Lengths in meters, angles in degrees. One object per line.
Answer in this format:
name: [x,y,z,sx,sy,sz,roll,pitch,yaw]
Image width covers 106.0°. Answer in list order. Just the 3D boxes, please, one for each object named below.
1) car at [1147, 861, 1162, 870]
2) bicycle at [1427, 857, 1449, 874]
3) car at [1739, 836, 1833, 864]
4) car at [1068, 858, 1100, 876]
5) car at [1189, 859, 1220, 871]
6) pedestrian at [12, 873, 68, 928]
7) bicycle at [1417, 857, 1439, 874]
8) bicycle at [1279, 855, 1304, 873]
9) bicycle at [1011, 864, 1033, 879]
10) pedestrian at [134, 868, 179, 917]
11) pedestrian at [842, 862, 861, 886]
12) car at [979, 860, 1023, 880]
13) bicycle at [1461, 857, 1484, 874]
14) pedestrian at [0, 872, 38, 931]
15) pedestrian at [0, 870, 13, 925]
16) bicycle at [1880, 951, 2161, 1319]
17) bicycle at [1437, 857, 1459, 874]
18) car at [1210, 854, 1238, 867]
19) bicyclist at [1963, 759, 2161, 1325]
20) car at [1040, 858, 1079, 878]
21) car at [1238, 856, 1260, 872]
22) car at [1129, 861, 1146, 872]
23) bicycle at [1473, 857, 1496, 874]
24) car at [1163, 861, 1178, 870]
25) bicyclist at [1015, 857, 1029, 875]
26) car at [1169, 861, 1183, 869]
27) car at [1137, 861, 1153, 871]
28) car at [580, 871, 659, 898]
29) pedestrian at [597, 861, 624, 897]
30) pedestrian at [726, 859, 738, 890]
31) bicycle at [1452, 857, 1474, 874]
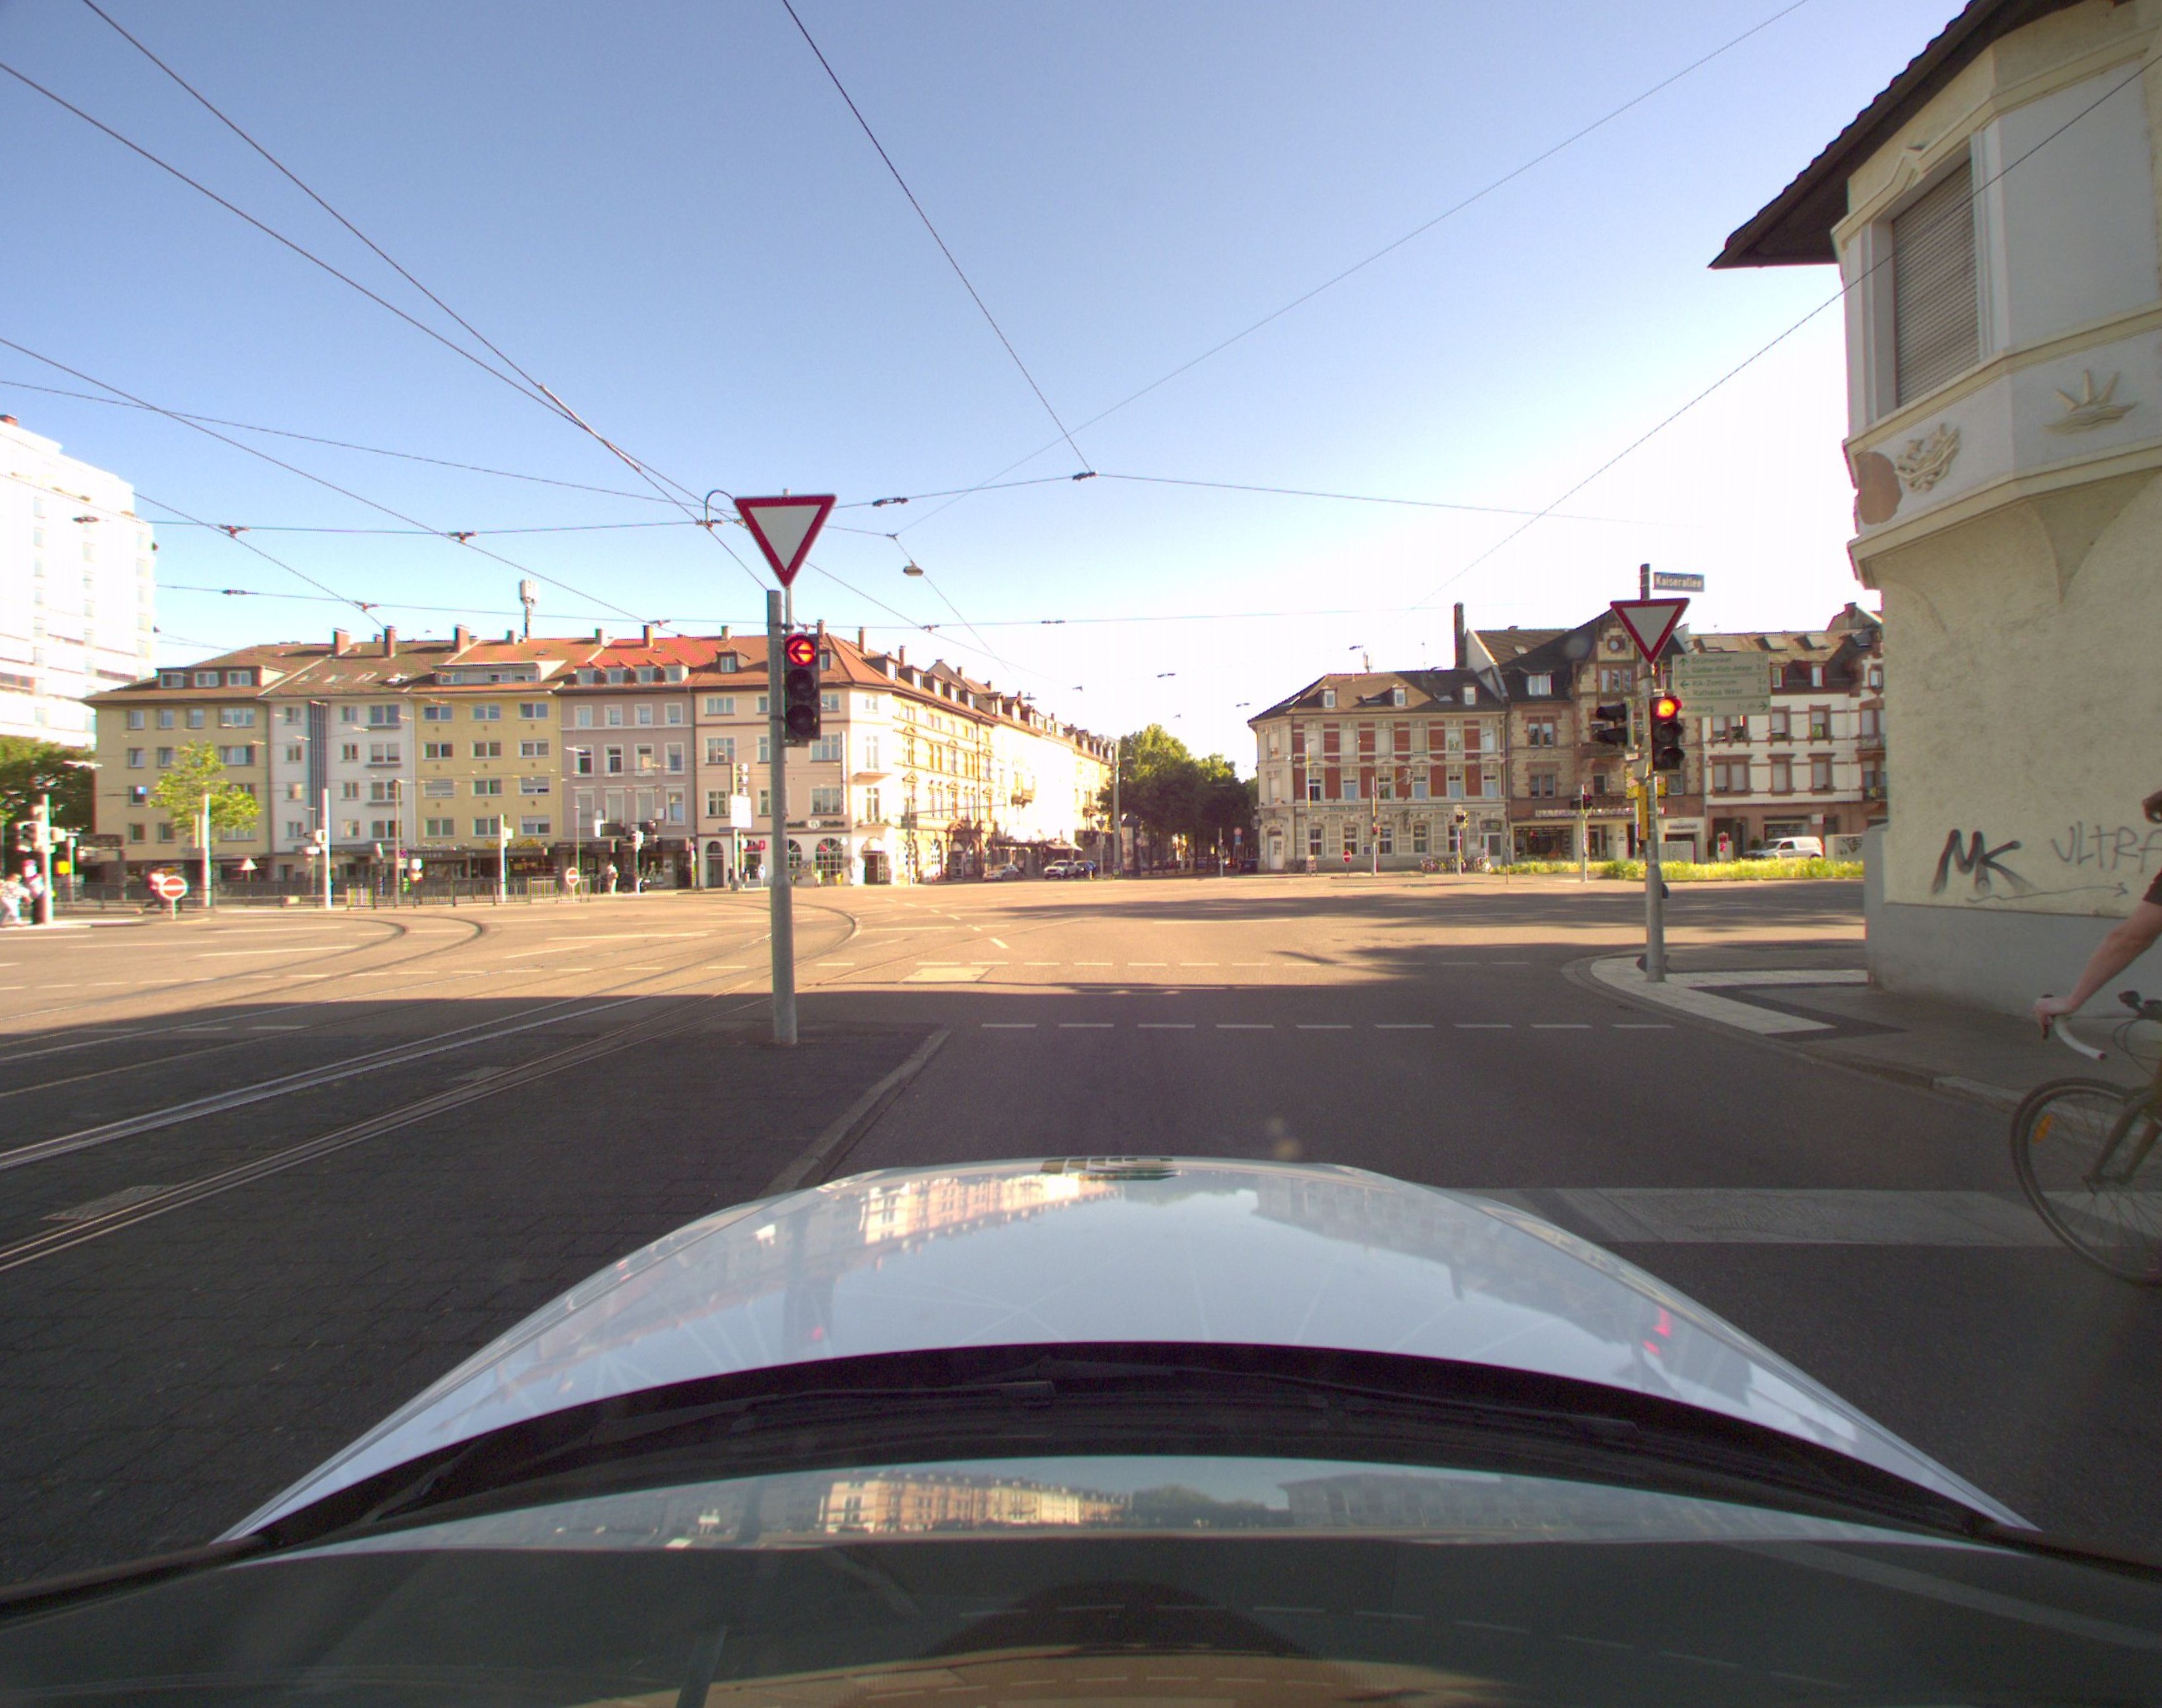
car: [11.069,1.727,122.711,1.729,1.397,4.137,1,0,12]
bicycle: [23.152,0.734,52.871,0.603,1.051,1.641,-1,0,-3]
car: [45.387,-0.233,52.473,4.356,1.654,1.999,-1,0,-2]
car: [0.294,1.150,73.695,1.979,1.513,4.015,-1,0,14]
car: [17.491,1.525,114.995,4.078,1.646,1.754,1,0,17]
pedestrian: [-31.958,1.422,25.006,0.712,1.625,0.795,-1,0,-18]
bicycle: [22.498,0.738,52.841,0.603,1.051,1.641,-1,0,-3]
bicycle: [14.698,0.689,56.941,1.625,1.222,0.609,-1,0,18]
bicycle: [-4.766,1.429,65.902,0.745,1.135,2.821,-1,0,16]
pedestrian: [-33.276,1.378,29.308,0.694,1.698,0.781,-1,0,-1]
pedestrian: [-15.754,1.381,55.928,1.070,1.591,1.034,-1,0,-25]
car: [-6.595,1.302,67.702,2.080,1.545,4.382,-2,0,16]
bicycle: [25.317,0.716,52.621,0.603,1.051,1.641,-1,0,-3]
pedestrian: [-31.597,1.407,24.092,0.742,1.698,0.555,-1,0,-2]
pedestrian: [-34.022,1.376,25.471,0.554,1.698,0.496,-1,0,-1]
bicycle: [3.582,0.917,2.510,0.530,1.016,1.759,-1,0,2]
bicycle: [23.815,0.729,52.871,0.603,1.051,1.641,-1,0,-3]
car: [23.378,1.086,133.074,4.074,1.919,1.756,1,0,23]
bicyclist: [3.579,0.574,2.498,0.557,1.730,1.084,0,-1,2]
car: [-1.727,1.161,67.372,2.080,1.499,4.017,-1,0,16]
car: [16.909,0.990,82.053,1.637,1.524,3.772,-2,-1,20]
car: [7.607,1.649,110.005,1.729,1.397,4.137,1,0,12]
bicycle: [26.055,0.710,52.613,0.603,1.051,1.641,-1,0,-3]
car: [14.446,1.810,131.459,1.728,1.397,4.141,1,0,16]
bicyclist: [-4.763,0.985,65.873,0.787,1.375,1.113,-1,0,16]
car: [15.870,1.833,136.206,1.728,1.397,4.141,1,0,16]
car: [9.181,1.685,115.775,1.729,1.397,4.137,1,0,12]
car: [-30.272,1.990,53.536,3.978,1.464,1.998,-2,0,-4]
pedestrian: [-24.568,1.309,42.559,0.871,1.818,0.811,-1,0,2]
pedestrian: [-22.776,1.356,53.125,0.506,2.013,0.505,-1,0,5]
bicycle: [24.642,0.720,52.571,0.603,1.051,1.641,-1,0,-3]
